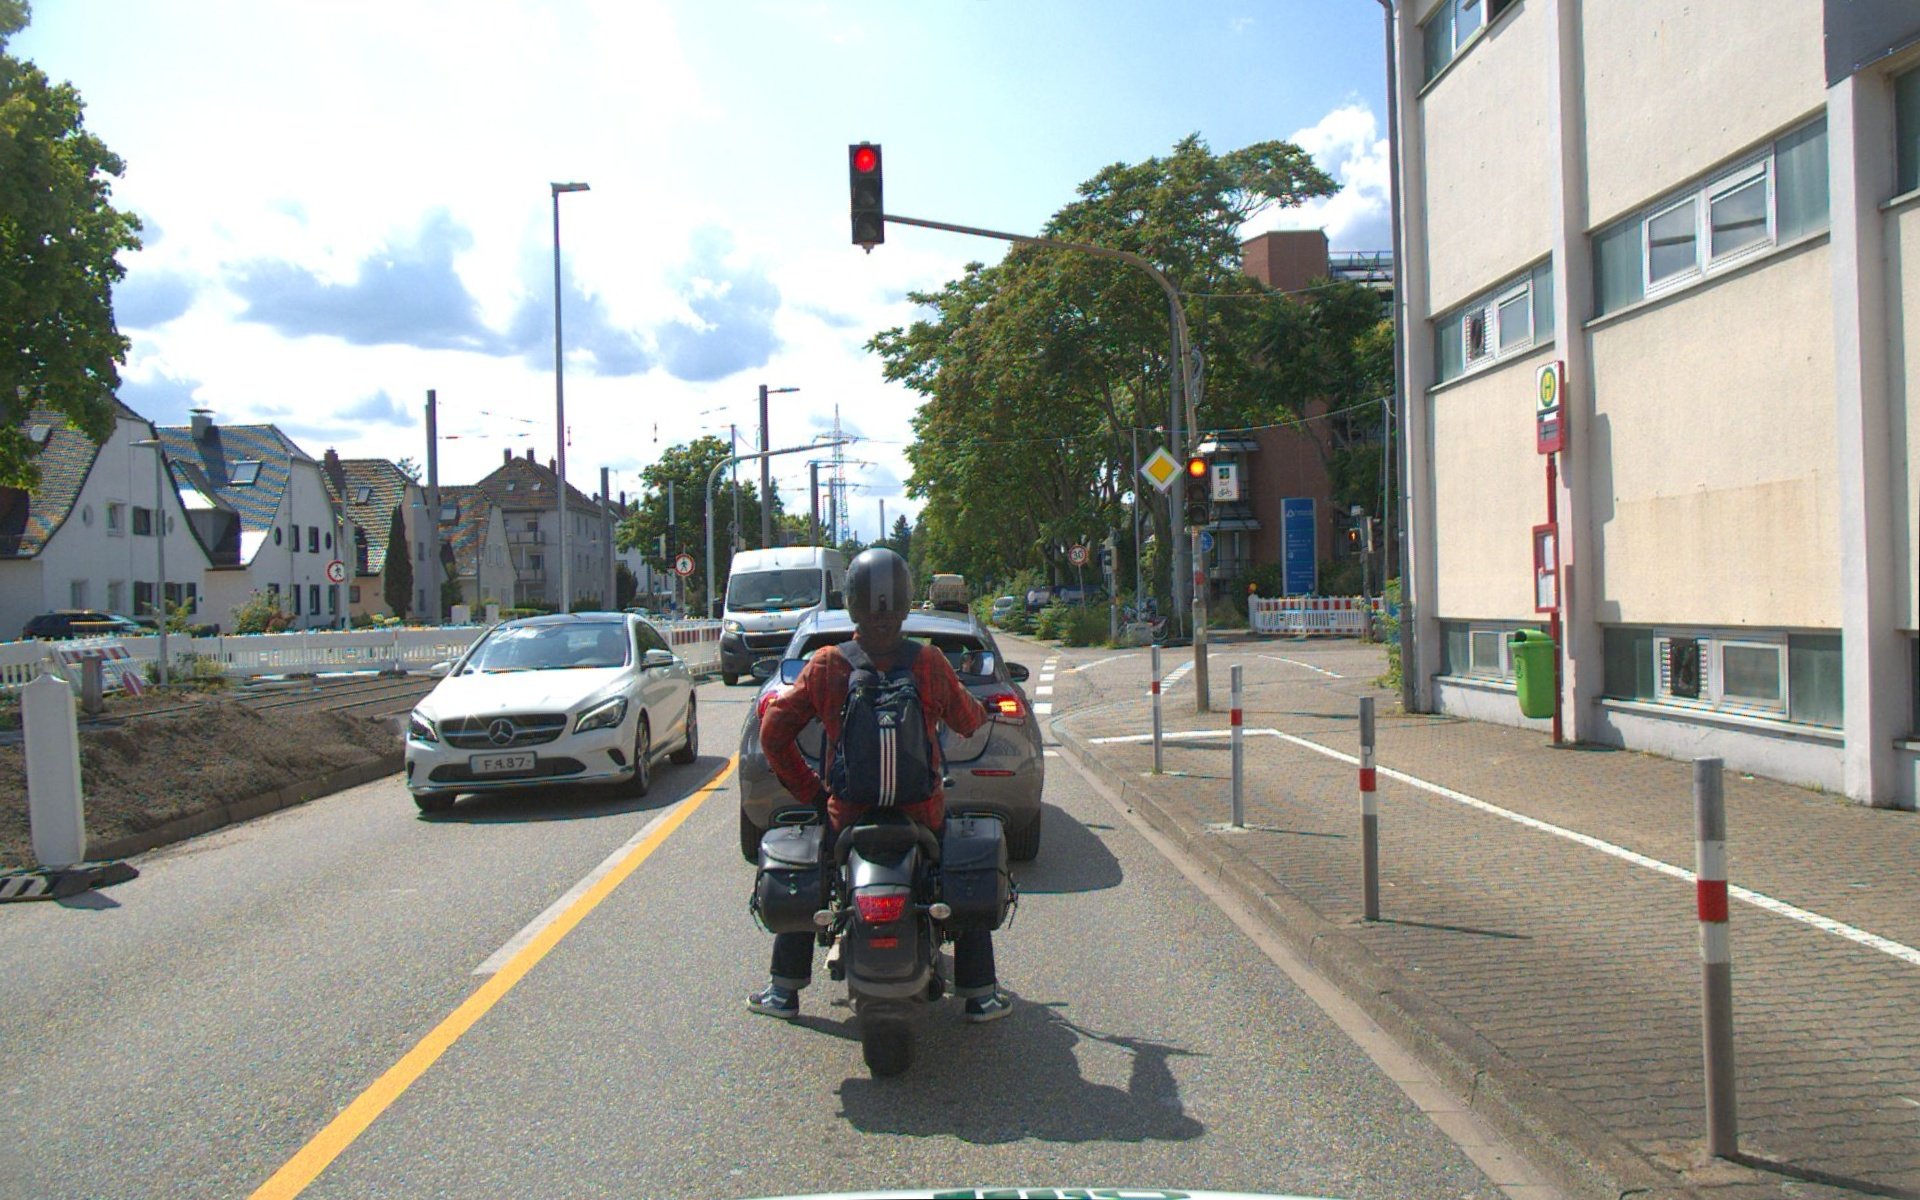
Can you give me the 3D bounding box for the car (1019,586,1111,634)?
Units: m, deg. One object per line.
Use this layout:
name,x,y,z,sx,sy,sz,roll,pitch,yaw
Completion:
car,4.442,0.422,69.608,1.772,1.959,3.973,0,-1,43

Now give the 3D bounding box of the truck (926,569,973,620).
truck,-0.650,-0.331,108.890,2.906,3.229,7.764,0,-1,1

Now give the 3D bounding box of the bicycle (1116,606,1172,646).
bicycle,5.540,0.793,49.862,1.672,1.192,0.438,0,-1,3

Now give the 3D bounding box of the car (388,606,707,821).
car,-3.259,0.832,13.857,1.709,1.462,4.082,-2,-1,-2

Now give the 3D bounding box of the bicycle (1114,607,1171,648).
bicycle,5.426,0.812,49.303,1.672,1.192,0.438,0,-1,3

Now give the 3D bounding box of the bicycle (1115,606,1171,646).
bicycle,5.573,0.799,50.406,1.672,1.192,0.438,0,-1,3

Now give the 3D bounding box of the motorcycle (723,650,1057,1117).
motorcycle,-0.227,0.830,5.855,0.923,1.221,2.471,0,0,-2

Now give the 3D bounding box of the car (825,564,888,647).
car,-2.823,0.168,45.698,1.557,2.180,3.626,0,-1,-1

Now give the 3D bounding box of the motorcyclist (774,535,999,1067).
motorcyclist,-0.234,0.621,5.444,0.684,1.632,0.691,0,-1,-2

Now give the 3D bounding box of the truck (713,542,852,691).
truck,-3.282,0.226,31.616,2.050,2.519,5.195,-3,1,-1

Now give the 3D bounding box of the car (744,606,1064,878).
car,-0.502,0.769,10.875,1.698,1.428,4.081,1,0,-6
